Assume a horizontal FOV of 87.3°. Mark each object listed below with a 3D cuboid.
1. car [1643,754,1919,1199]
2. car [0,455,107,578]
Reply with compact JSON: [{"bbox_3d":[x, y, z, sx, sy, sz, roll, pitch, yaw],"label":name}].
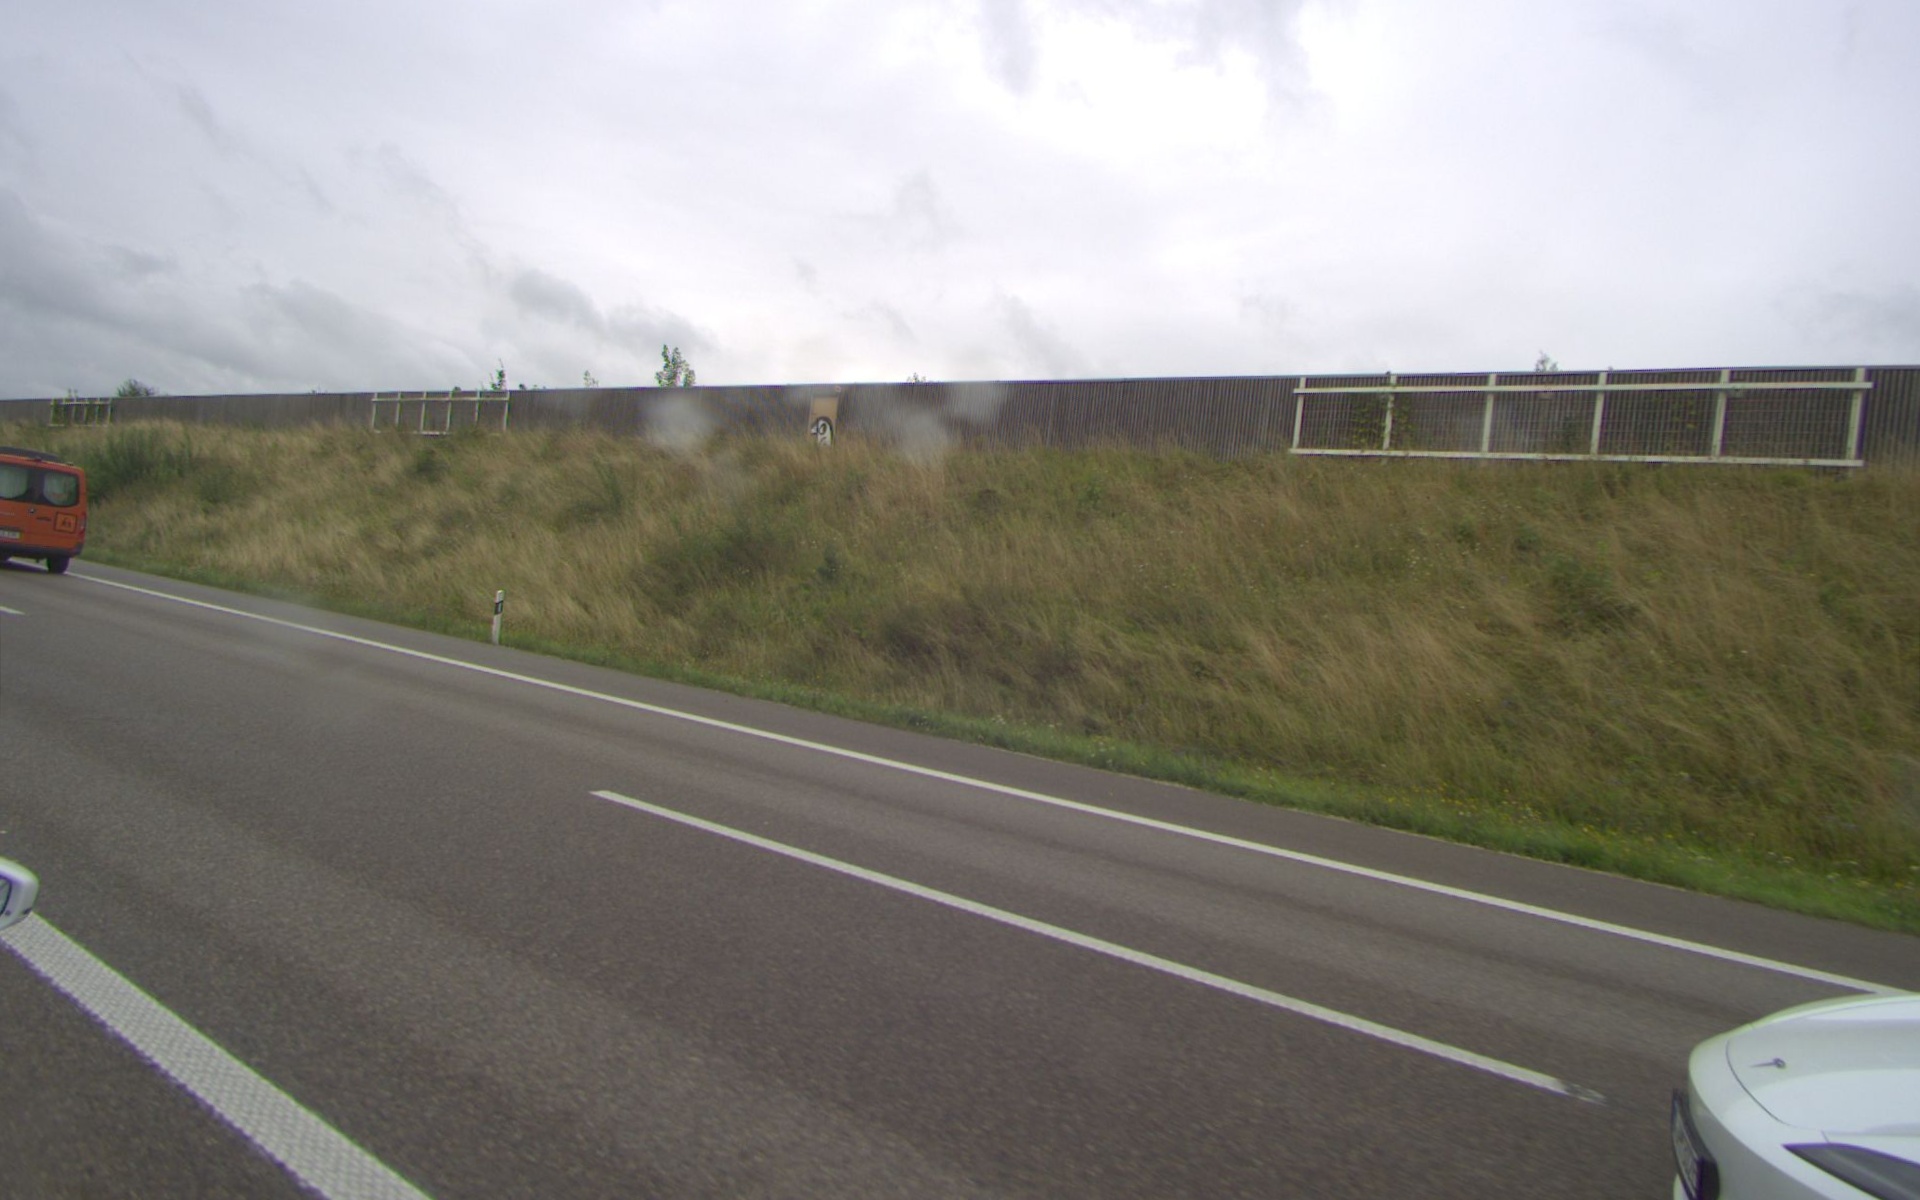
[{"bbox_3d":[3.982,1.348,1.451,4.733,1.379,1.877,6,-2,32],"label":"car"},{"bbox_3d":[-21.758,-2.030,22.509,6.077,2.343,2.089,7,0,31],"label":"car"}]
